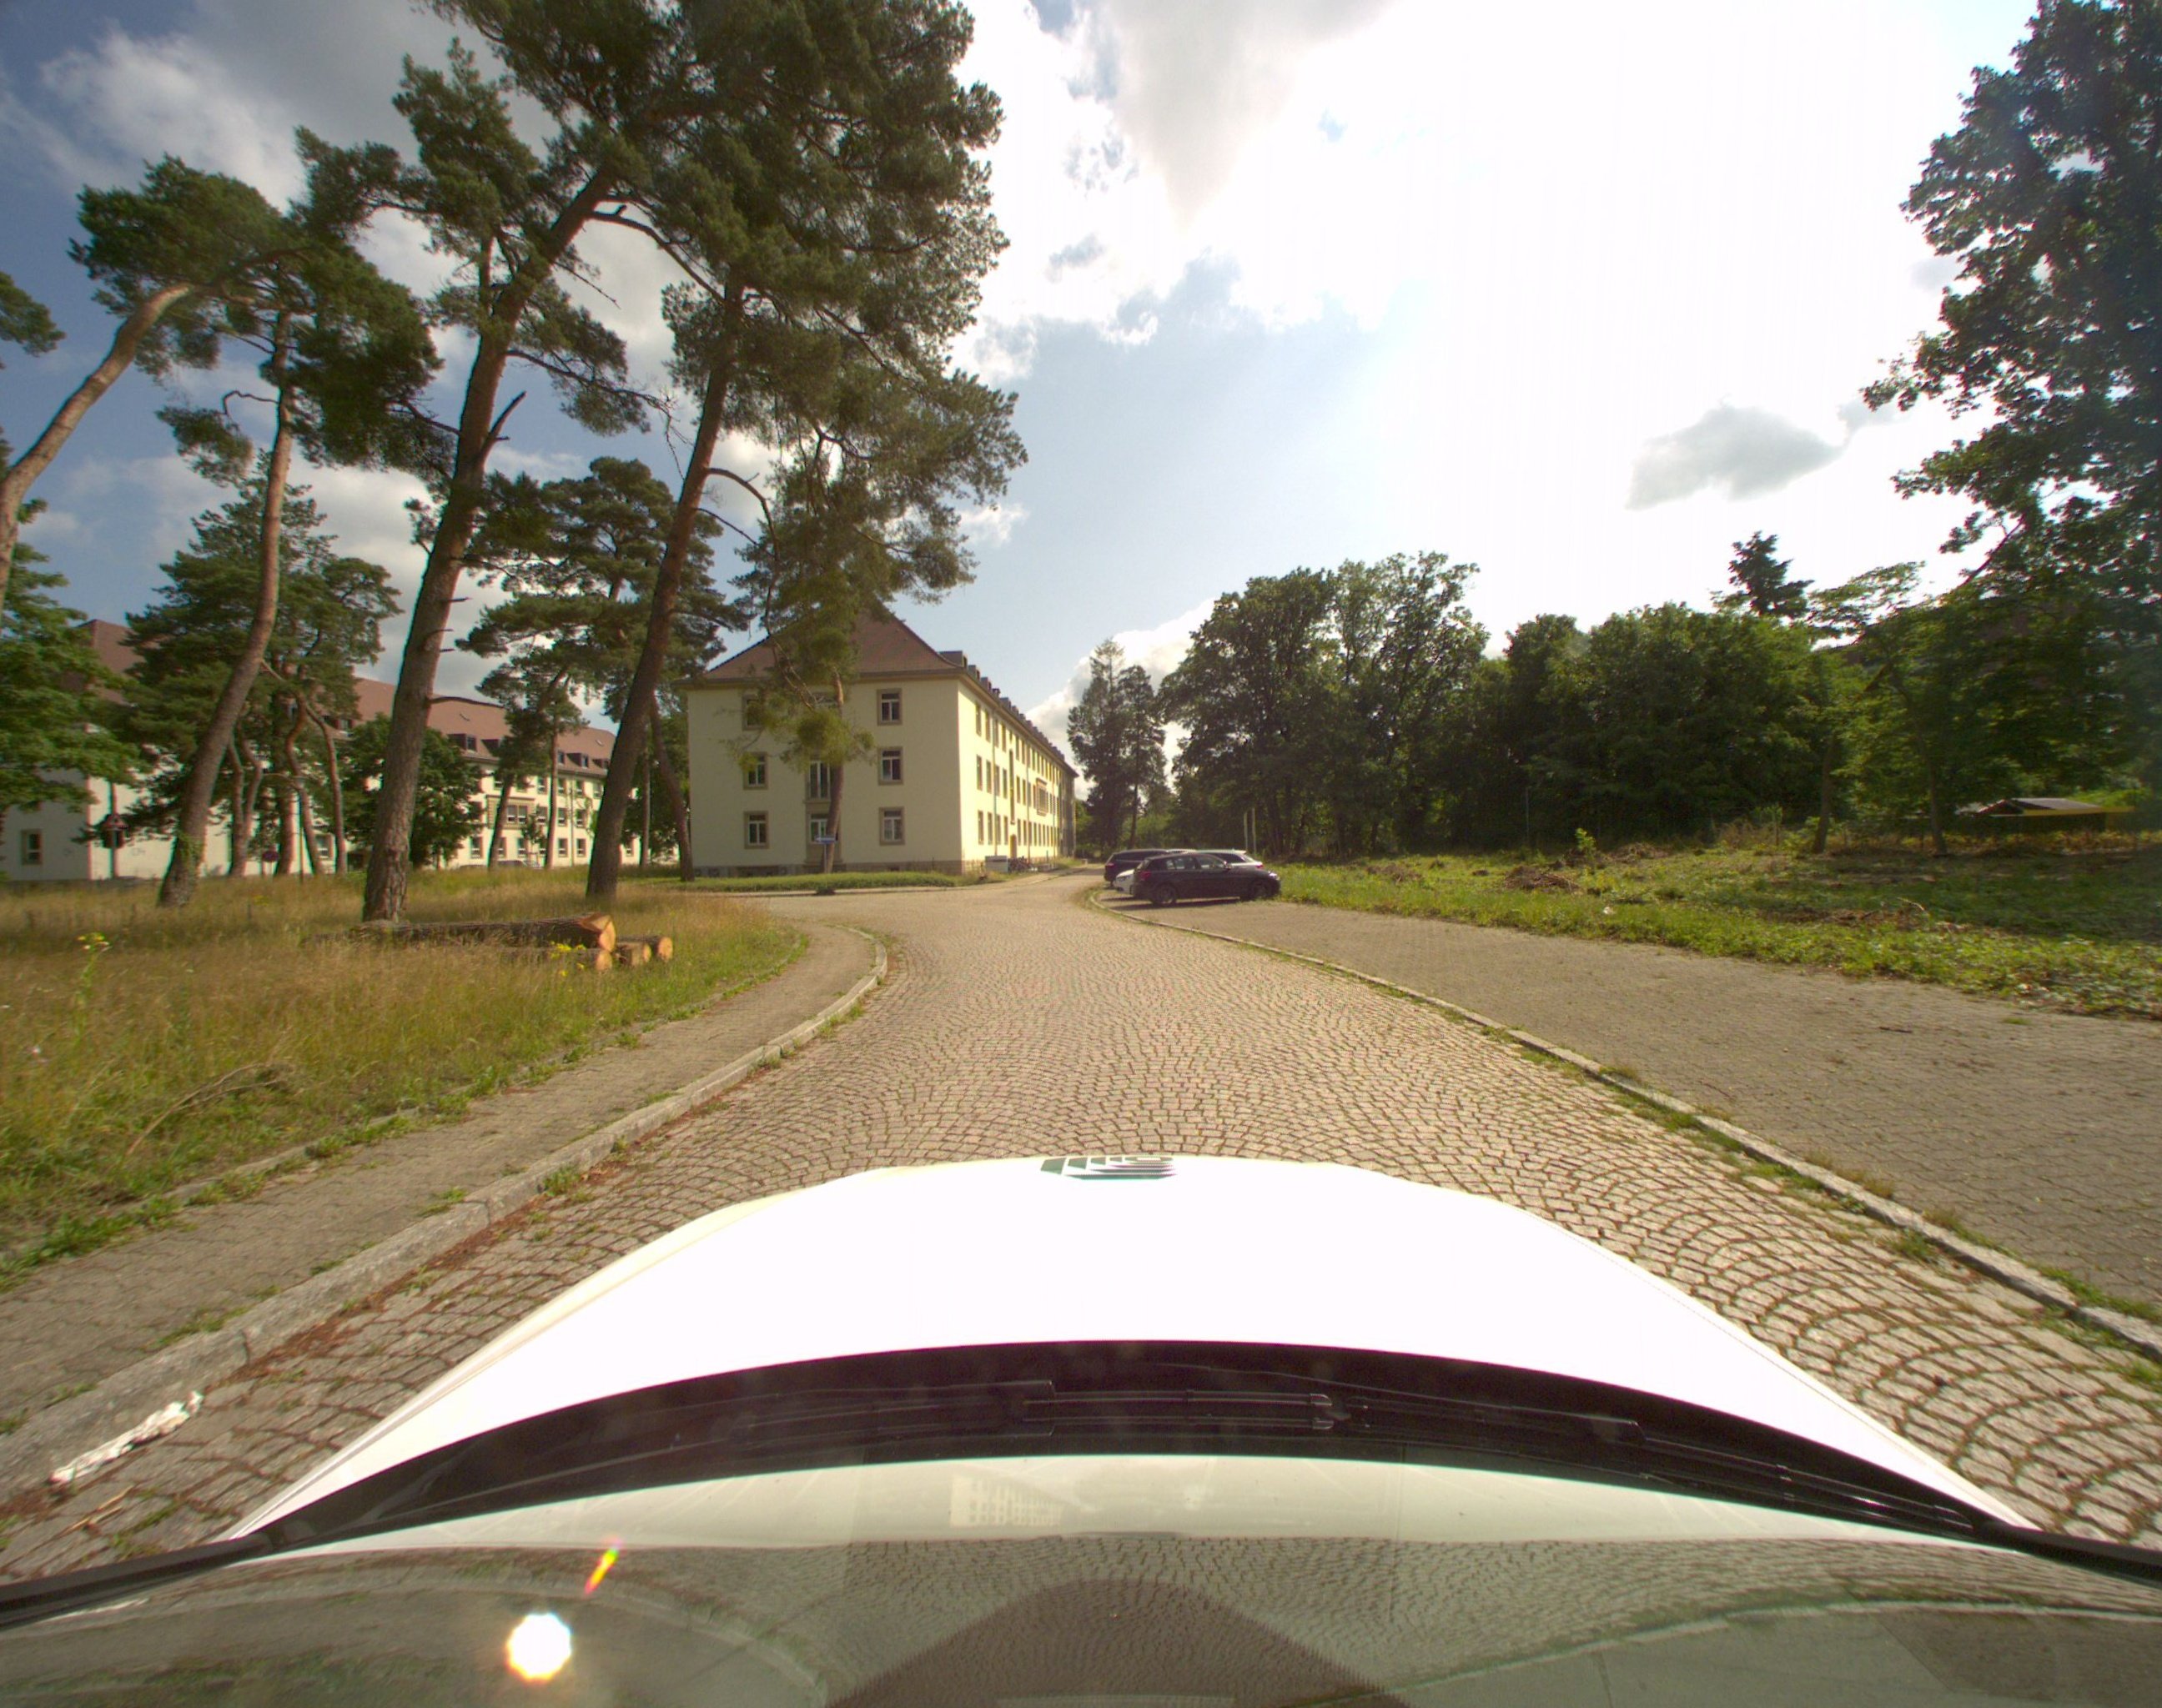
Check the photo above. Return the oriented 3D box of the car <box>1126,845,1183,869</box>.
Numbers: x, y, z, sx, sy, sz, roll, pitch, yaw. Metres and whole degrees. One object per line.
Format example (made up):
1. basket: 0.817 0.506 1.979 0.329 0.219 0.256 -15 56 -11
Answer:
1. car: 5.619 0.228 61.994 4.165 1.543 1.823 -3 -1 6

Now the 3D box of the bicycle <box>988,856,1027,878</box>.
1. bicycle: -4.475 0.769 49.781 2.210 1.260 0.624 -2 0 7

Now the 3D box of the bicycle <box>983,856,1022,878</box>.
1. bicycle: -4.712 0.779 48.954 2.208 1.260 0.625 -2 0 11

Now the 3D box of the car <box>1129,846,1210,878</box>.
1. car: 4.768 0.430 43.907 4.185 1.484 1.823 -3 -1 6

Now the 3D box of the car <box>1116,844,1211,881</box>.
1. car: 3.953 0.412 39.341 4.380 1.484 1.767 -3 -1 3

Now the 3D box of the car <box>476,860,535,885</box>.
1. car: -50.512 1.587 71.542 4.039 1.991 1.716 -2 0 5

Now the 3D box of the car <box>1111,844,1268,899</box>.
1. car: 3.452 0.541 26.529 4.841 1.472 1.876 -3 1 3

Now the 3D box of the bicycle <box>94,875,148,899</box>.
1. bicycle: -46.490 1.586 39.461 0.486 1.100 1.593 -2 0 16

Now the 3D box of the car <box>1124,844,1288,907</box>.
1. car: 3.509 0.575 23.336 4.315 1.500 1.828 -3 1 -4

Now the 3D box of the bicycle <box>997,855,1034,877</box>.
1. bicycle: -4.158 0.757 51.505 2.210 1.260 0.624 -2 0 7

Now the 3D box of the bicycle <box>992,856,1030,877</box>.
1. bicycle: -4.352 0.765 50.674 2.208 1.260 0.625 -2 0 11

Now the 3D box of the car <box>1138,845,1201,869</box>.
1. car: 6.146 0.209 56.530 4.244 1.484 1.823 -3 -1 6

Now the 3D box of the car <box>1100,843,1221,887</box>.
1. car: 3.277 0.445 33.922 4.832 1.552 1.881 -3 -1 3

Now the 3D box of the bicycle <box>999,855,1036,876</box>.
1. bicycle: -4.088 0.754 52.513 2.210 1.260 0.624 -2 0 7
